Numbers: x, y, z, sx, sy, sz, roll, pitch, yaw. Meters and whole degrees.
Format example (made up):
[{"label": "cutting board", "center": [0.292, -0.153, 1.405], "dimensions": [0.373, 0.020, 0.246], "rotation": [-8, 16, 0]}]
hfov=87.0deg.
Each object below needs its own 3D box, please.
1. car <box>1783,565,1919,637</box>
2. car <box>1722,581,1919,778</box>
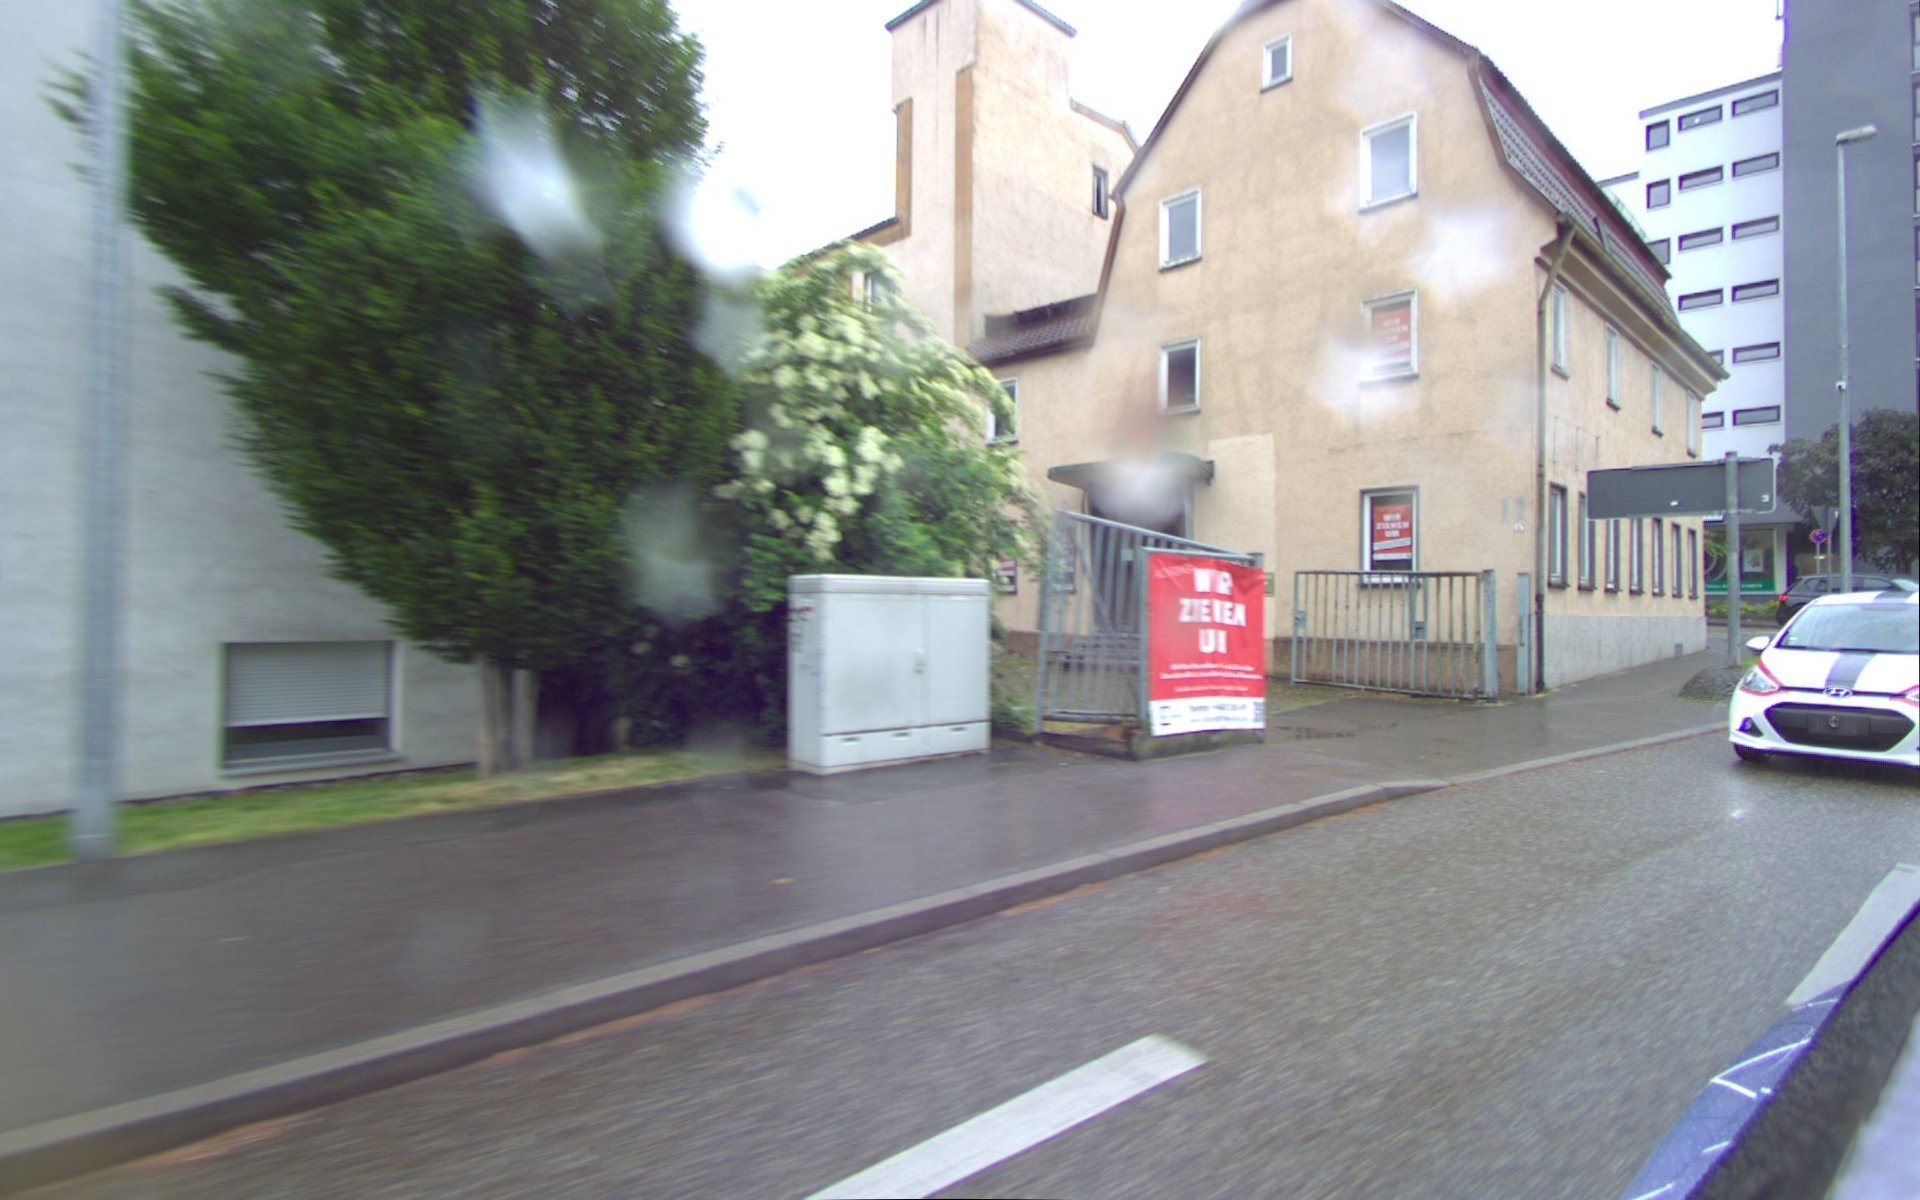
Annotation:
[{"label": "car", "center": [22.679, -0.002, 24.226], "dimensions": [1.683, 1.592, 4.430], "rotation": [-2, 3, -16]}, {"label": "car", "center": [8.562, 0.573, 9.027], "dimensions": [3.691, 1.471, 1.713], "rotation": [-1, 1, -34]}]
